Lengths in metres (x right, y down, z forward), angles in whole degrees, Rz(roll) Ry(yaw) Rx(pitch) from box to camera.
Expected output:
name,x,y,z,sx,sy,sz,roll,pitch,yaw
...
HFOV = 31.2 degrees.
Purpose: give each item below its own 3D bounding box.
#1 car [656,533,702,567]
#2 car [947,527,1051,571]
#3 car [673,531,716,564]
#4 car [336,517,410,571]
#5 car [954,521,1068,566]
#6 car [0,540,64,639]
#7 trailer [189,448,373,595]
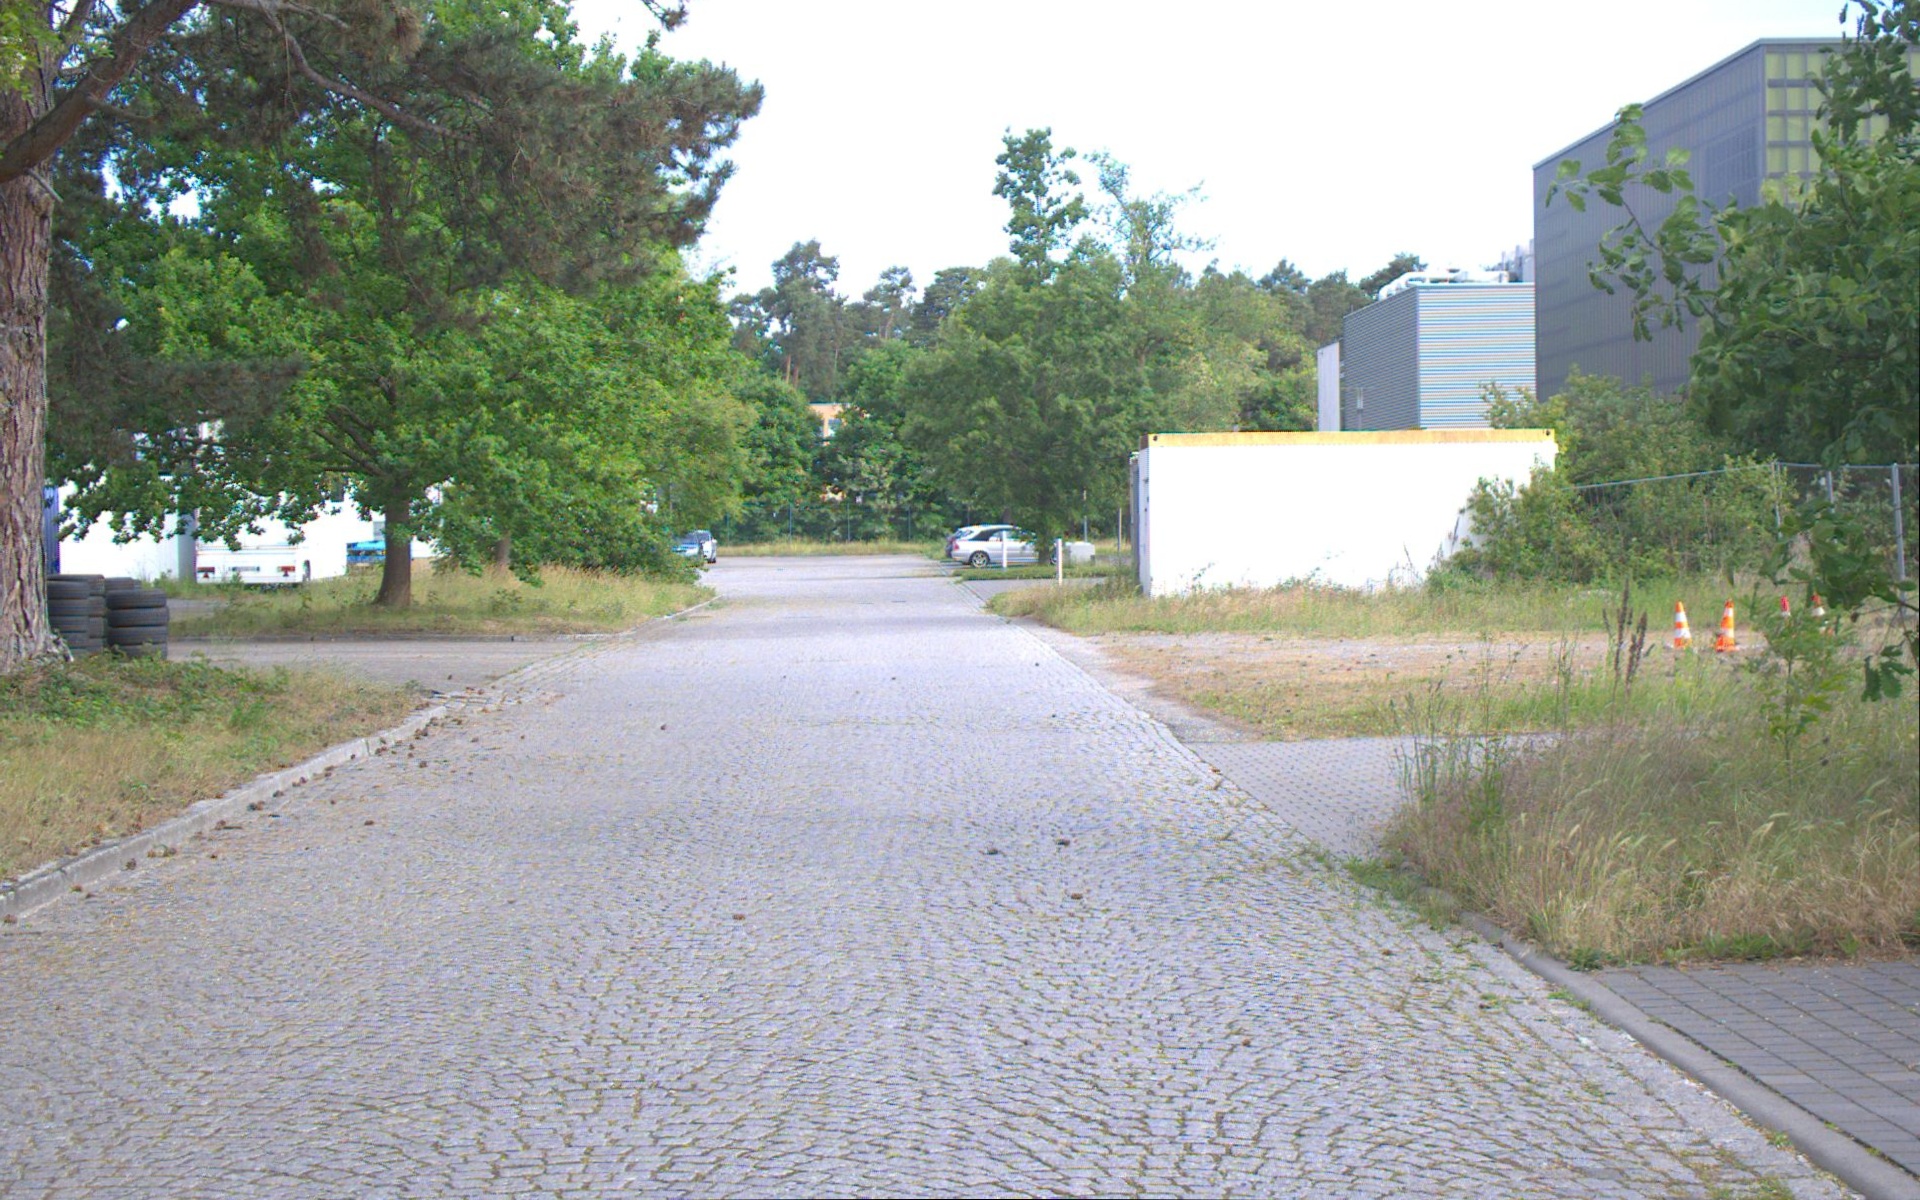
name,x,y,z,sx,sy,sz,roll,pitch,yaw
car,-11.591,-2.061,141.792,1.647,1.364,3.998,-1,1,-1
car,1.351,-1.797,120.443,3.522,1.357,1.622,-3,1,-1
car,-11.745,-2.328,152.132,1.647,1.453,3.998,-1,1,-1
car,-22.099,-2.119,129.582,1.993,2.007,4.768,0,1,-1
car,1.820,-2.028,123.142,3.984,1.443,1.653,-3,1,-1
car,-15.008,-0.157,51.879,1.625,1.428,4.063,-1,2,4
trailer,-17.587,-2.040,89.747,2.625,3.585,10.177,0,1,1
